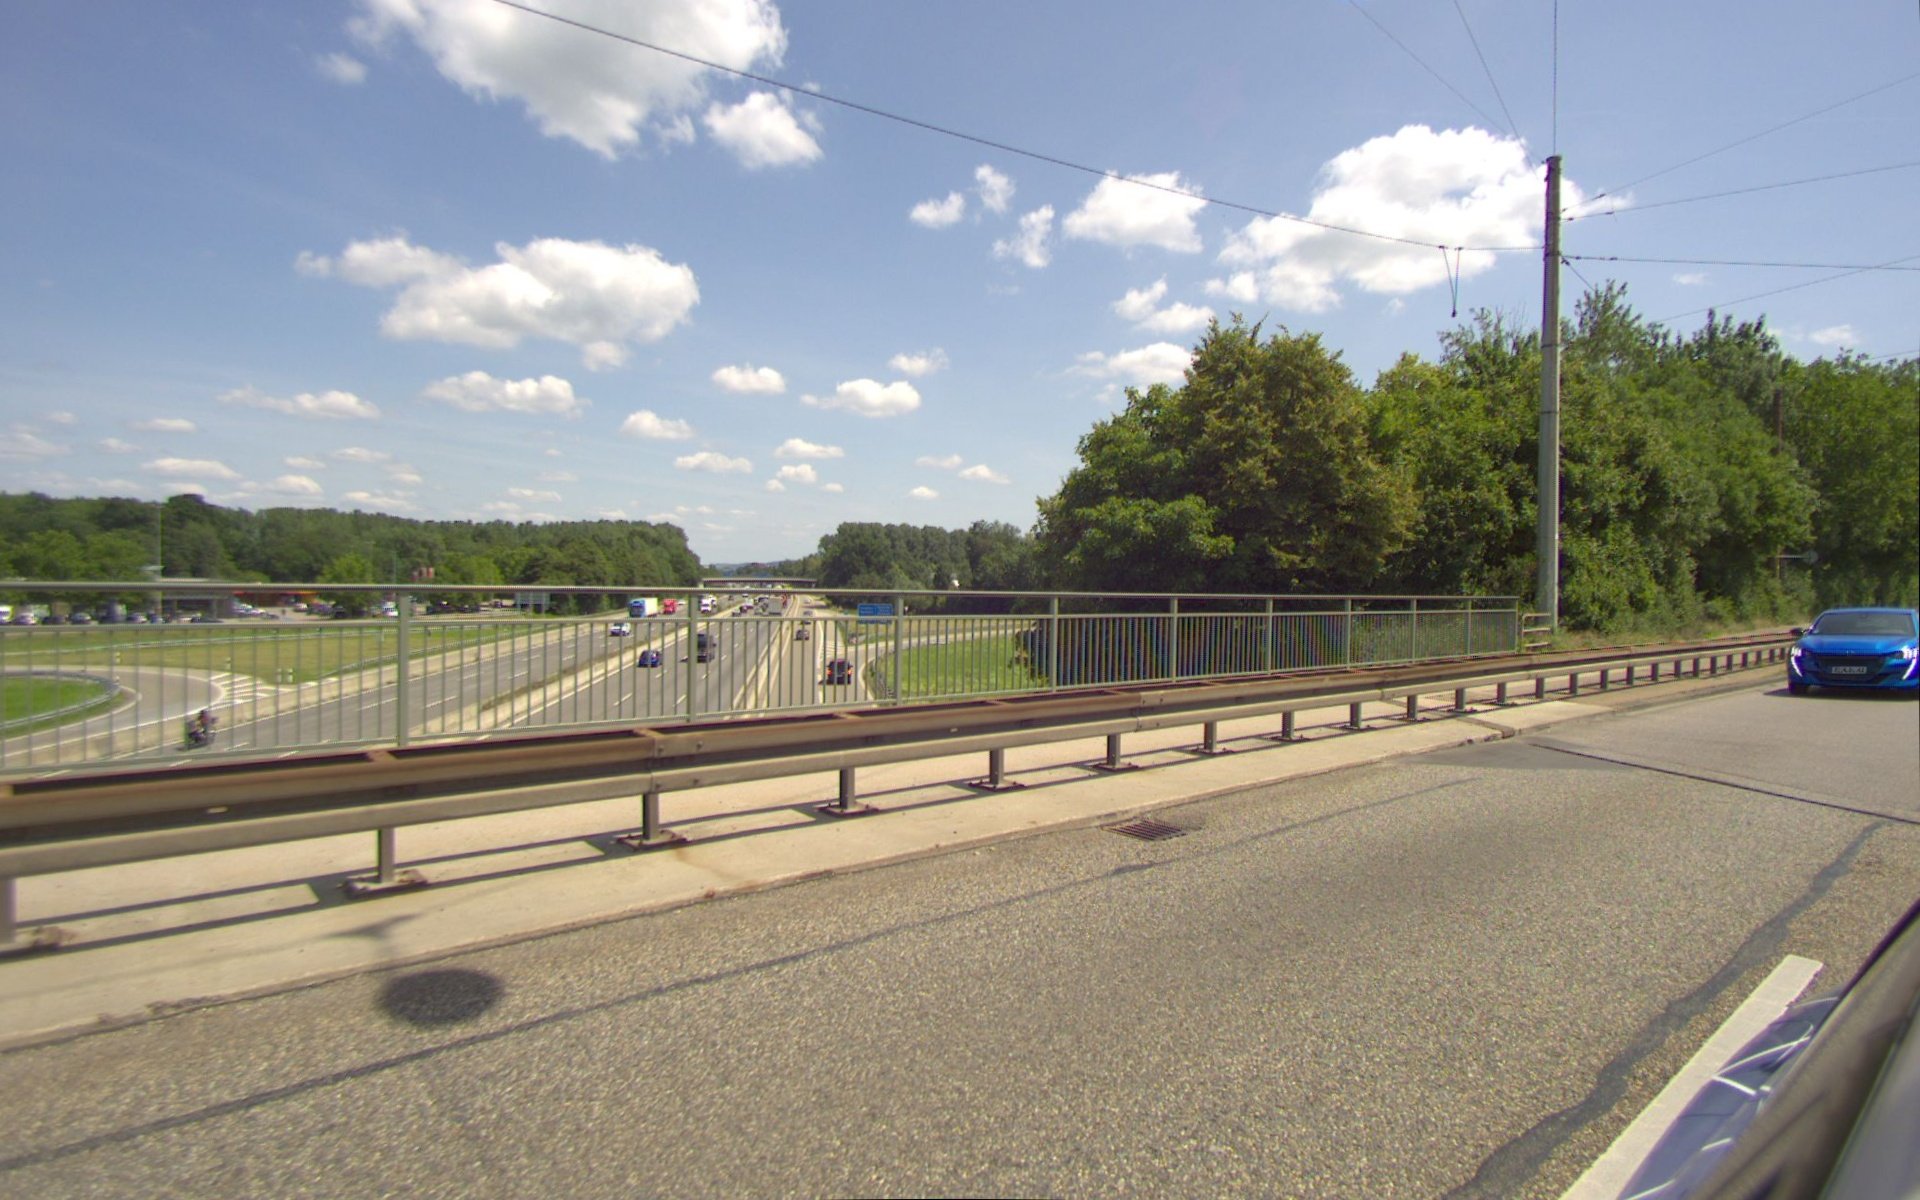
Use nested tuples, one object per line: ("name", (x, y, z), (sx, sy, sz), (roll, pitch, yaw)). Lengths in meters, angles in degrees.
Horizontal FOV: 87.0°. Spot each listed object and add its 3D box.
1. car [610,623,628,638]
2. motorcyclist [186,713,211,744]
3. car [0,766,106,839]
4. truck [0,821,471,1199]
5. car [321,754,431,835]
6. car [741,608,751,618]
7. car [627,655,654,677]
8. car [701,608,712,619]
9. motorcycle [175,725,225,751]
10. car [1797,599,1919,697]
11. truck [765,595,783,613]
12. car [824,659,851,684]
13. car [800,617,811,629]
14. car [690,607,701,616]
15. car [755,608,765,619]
("car", (-45.792, 4.118, 136.035), (1.597, 1.951, 4.003), (-2, -3, -8))
("motorcyclist", (-36.045, 6.086, 47.936), (0.591, 1.362, 0.912), (-2, -3, -9))
("car", (-30.116, 6.594, 33.105), (1.431, 1.437, 3.997), (-2, 2, -9))
("truck", (-7.571, 5.660, 7.532), (2.774, 4.271, 14.815), (-2, 2, -9))
("car", (-19.328, 6.401, 33.693), (1.781, 1.883, 4.006), (3, 0, -9))
("car", (-47.270, 2.956, 223.443), (1.921, 1.951, 4.003), (-2, -3, -9))
("car", (-28.708, 5.897, 90.977), (1.789, 1.817, 4.004), (-2, -3, -11))
("car", (-54.125, 2.948, 215.980), (1.921, 2.184, 4.003), (-2, -3, -9))
("motorcycle", (-35.931, 6.524, 47.900), (0.840, 1.002, 2.475), (-2, -3, -9))
("car", (15.369, 0.716, 16.852), (3.679, 1.423, 1.658), (-1, 0, -41))
("truck", (-37.445, 0.724, 203.699), (3.300, 3.483, 6.963), (0, 0, -8))
("car", (-9.750, 5.661, 80.378), (1.964, 1.817, 4.003), (-2, -3, -8))
("car", (-27.320, 4.051, 178.871), (1.921, 1.951, 4.003), (-2, -3, -9))
("car", (-61.738, 2.705, 236.355), (1.921, 1.951, 4.003), (-2, -3, -9))
("car", (-43.030, 2.924, 218.192), (1.921, 1.951, 4.003), (-2, -3, -9))
